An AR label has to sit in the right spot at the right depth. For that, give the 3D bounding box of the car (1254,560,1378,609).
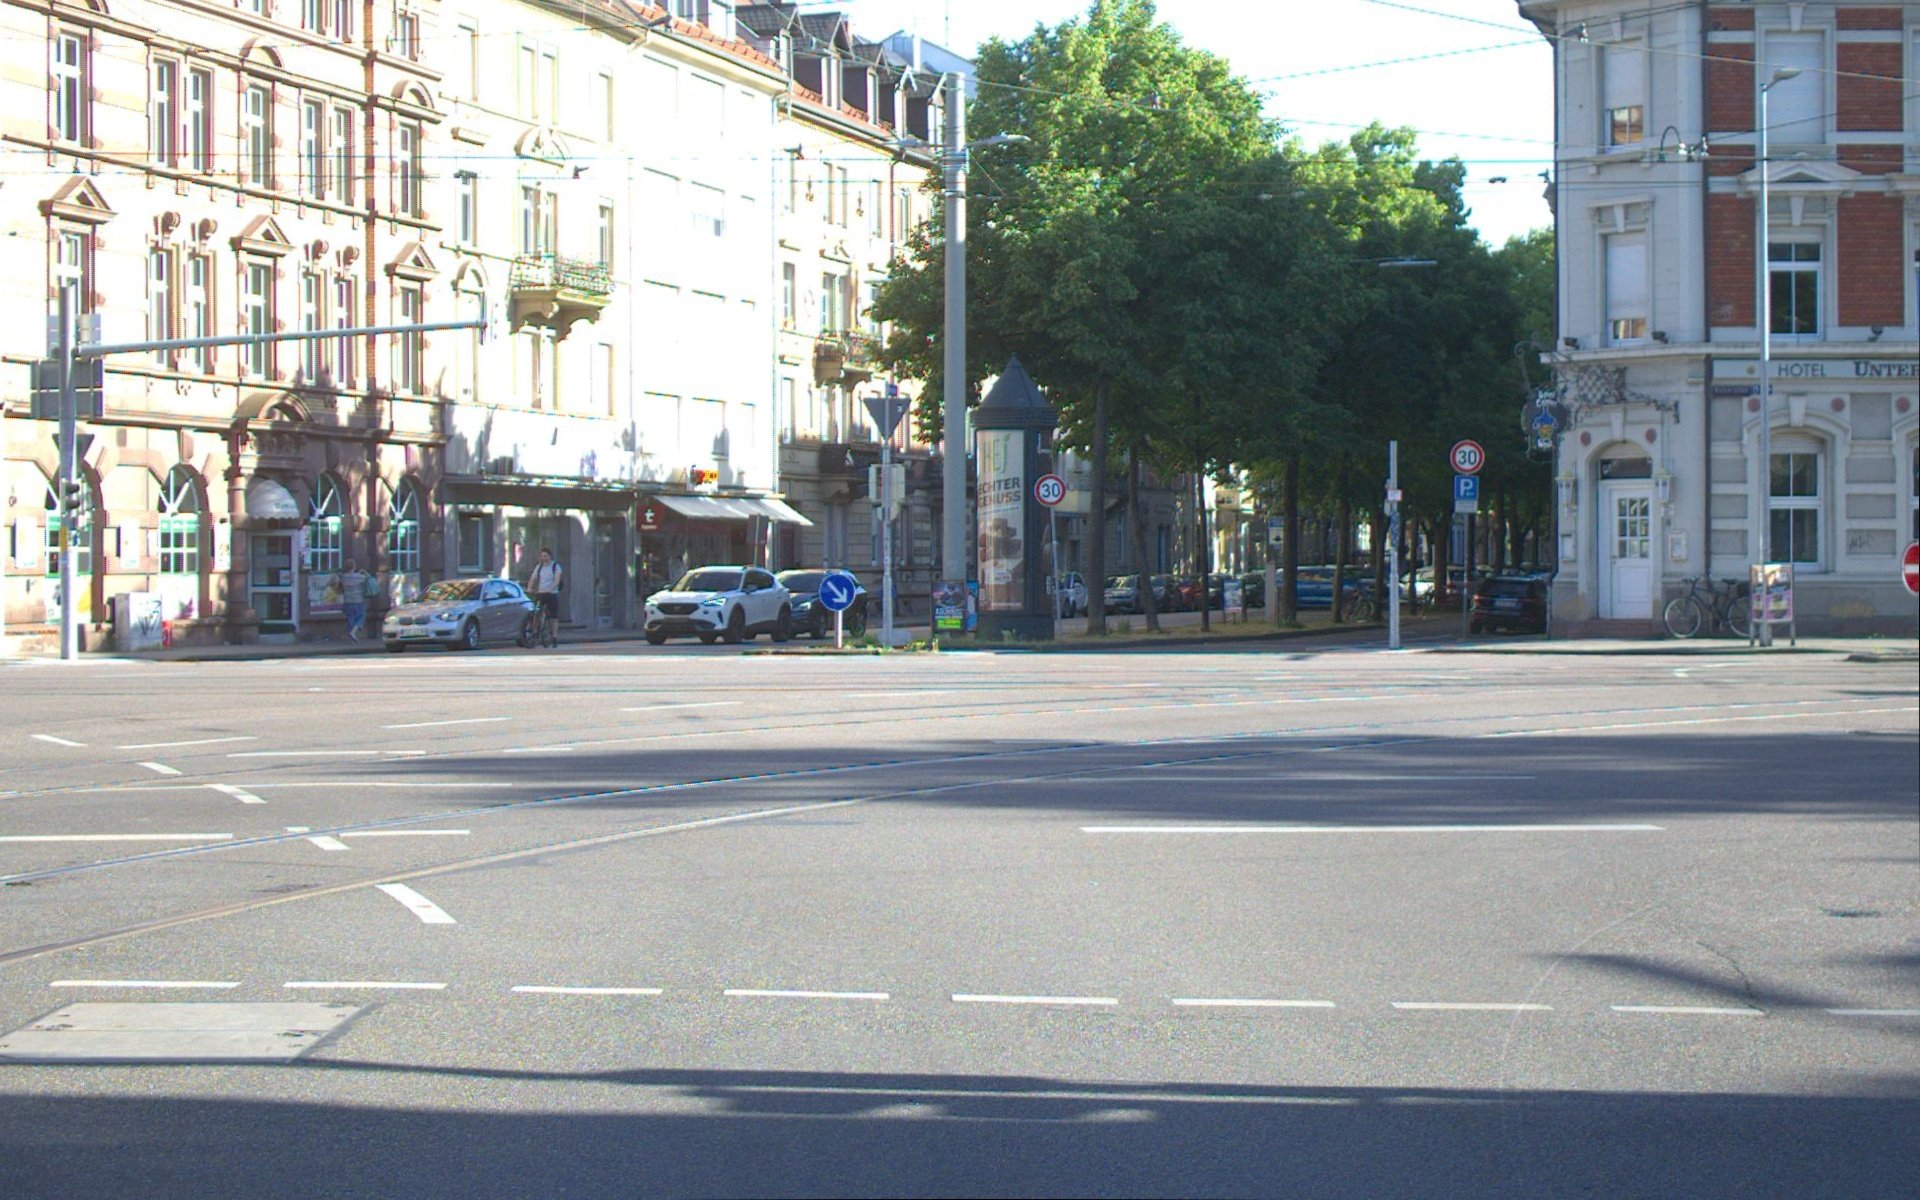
[{"bbox_3d":[11.999,-0.522,115.675,3.905,1.642,1.681,0,1,17],"label":"car"}]

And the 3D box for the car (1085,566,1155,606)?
[{"bbox_3d":[5.712,-0.503,122.439,1.678,1.349,3.588,0,1,17],"label":"car"}]

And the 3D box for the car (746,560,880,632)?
[{"bbox_3d":[-3.116,-0.109,73.613,1.678,1.478,3.945,0,1,17],"label":"car"}]

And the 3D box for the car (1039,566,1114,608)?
[{"bbox_3d":[3.940,-0.456,115.477,1.678,1.349,3.588,0,1,17],"label":"car"}]

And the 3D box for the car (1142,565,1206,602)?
[{"bbox_3d":[8.149,-0.629,130.745,1.678,1.349,3.588,0,1,17],"label":"car"}]

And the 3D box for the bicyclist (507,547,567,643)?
[{"bbox_3d":[-8.011,-0.095,65.137,0.779,1.797,1.055,1,0,14],"label":"bicyclist"}]

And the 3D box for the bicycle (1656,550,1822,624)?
[{"bbox_3d":[12.972,-0.214,57.273,2.554,1.170,0.819,1,0,-3],"label":"bicycle"}]

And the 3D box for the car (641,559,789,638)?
[{"bbox_3d":[-4.758,-0.059,67.312,1.678,1.478,3.768,0,1,17],"label":"car"}]

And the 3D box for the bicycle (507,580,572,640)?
[{"bbox_3d":[-7.975,0.178,65.264,0.702,1.114,1.634,1,1,13],"label":"bicycle"}]

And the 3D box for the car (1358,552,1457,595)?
[{"bbox_3d":[17.396,-1.016,133.504,3.582,1.642,1.681,0,1,17],"label":"car"}]

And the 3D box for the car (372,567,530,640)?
[{"bbox_3d":[-9.868,0.049,66.909,1.678,1.349,3.588,0,1,17],"label":"car"}]

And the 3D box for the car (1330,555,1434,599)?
[{"bbox_3d":[15.721,-0.861,128.030,3.582,1.642,1.681,0,1,17],"label":"car"}]

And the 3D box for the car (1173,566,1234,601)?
[{"bbox_3d":[9.621,-0.669,135.775,1.678,1.349,3.588,0,1,17],"label":"car"}]

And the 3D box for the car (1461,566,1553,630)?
[{"bbox_3d":[13.155,-0.066,82.571,1.678,1.478,3.945,0,1,17],"label":"car"}]

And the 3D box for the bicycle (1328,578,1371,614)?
[{"bbox_3d":[11.267,-0.115,99.481,0.636,1.018,1.847,1,1,-14],"label":"bicycle"}]

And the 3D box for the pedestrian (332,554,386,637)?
[{"bbox_3d":[-12.235,-0.094,69.978,0.776,1.664,0.830,1,0,15],"label":"pedestrian"}]
